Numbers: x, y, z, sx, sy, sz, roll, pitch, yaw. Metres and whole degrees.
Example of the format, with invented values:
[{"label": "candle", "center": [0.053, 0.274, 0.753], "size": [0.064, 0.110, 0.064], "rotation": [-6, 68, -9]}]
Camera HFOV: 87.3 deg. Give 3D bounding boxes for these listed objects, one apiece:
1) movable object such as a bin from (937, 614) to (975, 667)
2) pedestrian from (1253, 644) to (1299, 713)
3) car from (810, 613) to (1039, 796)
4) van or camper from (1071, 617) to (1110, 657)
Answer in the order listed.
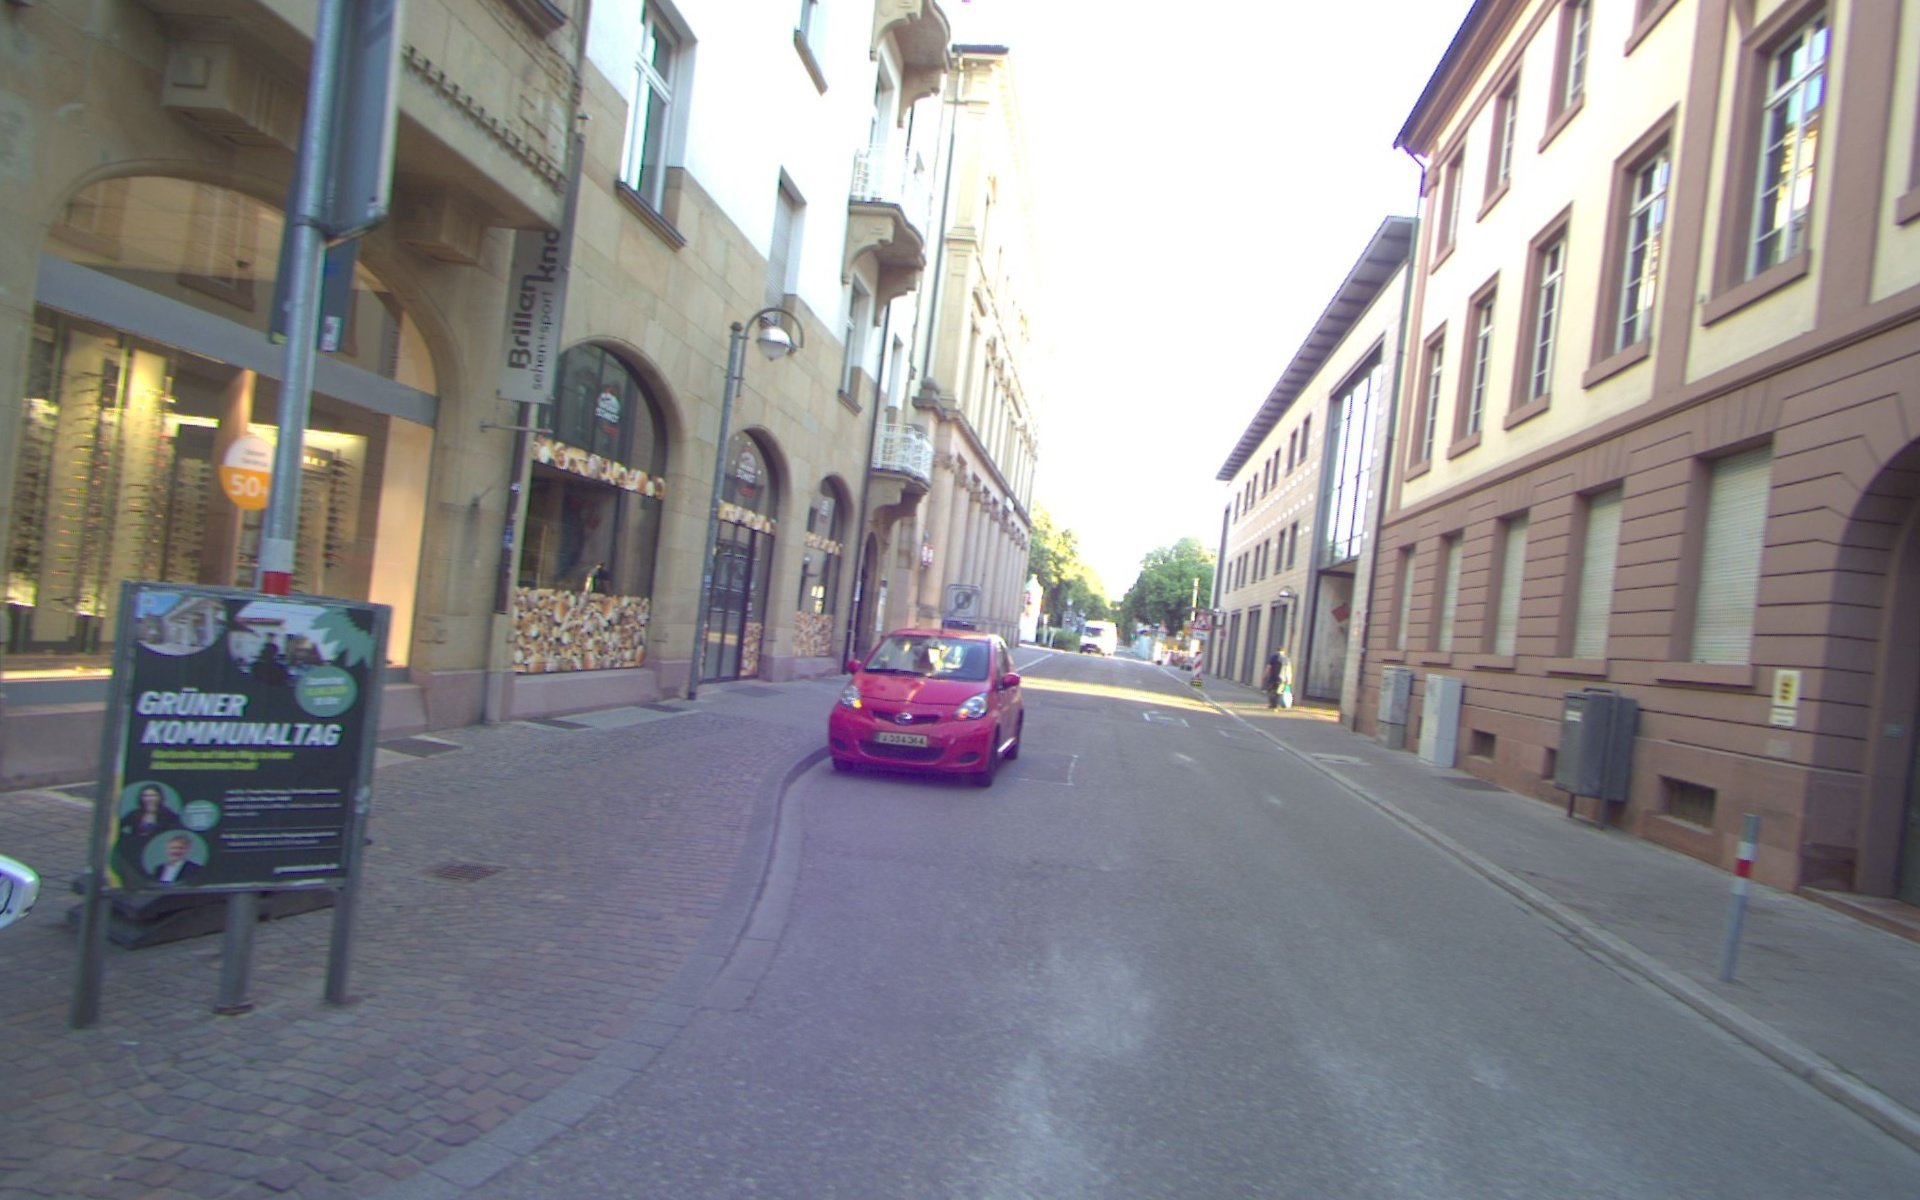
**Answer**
[{"label": "movable object such as a bin", "center": [-0.112, 1.280, 31.861], "size": [0.816, 1.521, 1.292], "rotation": [8, 0, 9]}, {"label": "pedestrian", "center": [8.759, 2.158, 27.929], "size": [0.984, 1.825, 0.882], "rotation": [3, -1, 8]}, {"label": "car", "center": [-0.181, 0.993, 10.911], "size": [1.631, 1.487, 3.935], "rotation": [4, -1, 9]}, {"label": "van or camper", "center": [9.808, 2.752, 75.125], "size": [2.184, 2.616, 6.376], "rotation": [7, -1, 11]}]
